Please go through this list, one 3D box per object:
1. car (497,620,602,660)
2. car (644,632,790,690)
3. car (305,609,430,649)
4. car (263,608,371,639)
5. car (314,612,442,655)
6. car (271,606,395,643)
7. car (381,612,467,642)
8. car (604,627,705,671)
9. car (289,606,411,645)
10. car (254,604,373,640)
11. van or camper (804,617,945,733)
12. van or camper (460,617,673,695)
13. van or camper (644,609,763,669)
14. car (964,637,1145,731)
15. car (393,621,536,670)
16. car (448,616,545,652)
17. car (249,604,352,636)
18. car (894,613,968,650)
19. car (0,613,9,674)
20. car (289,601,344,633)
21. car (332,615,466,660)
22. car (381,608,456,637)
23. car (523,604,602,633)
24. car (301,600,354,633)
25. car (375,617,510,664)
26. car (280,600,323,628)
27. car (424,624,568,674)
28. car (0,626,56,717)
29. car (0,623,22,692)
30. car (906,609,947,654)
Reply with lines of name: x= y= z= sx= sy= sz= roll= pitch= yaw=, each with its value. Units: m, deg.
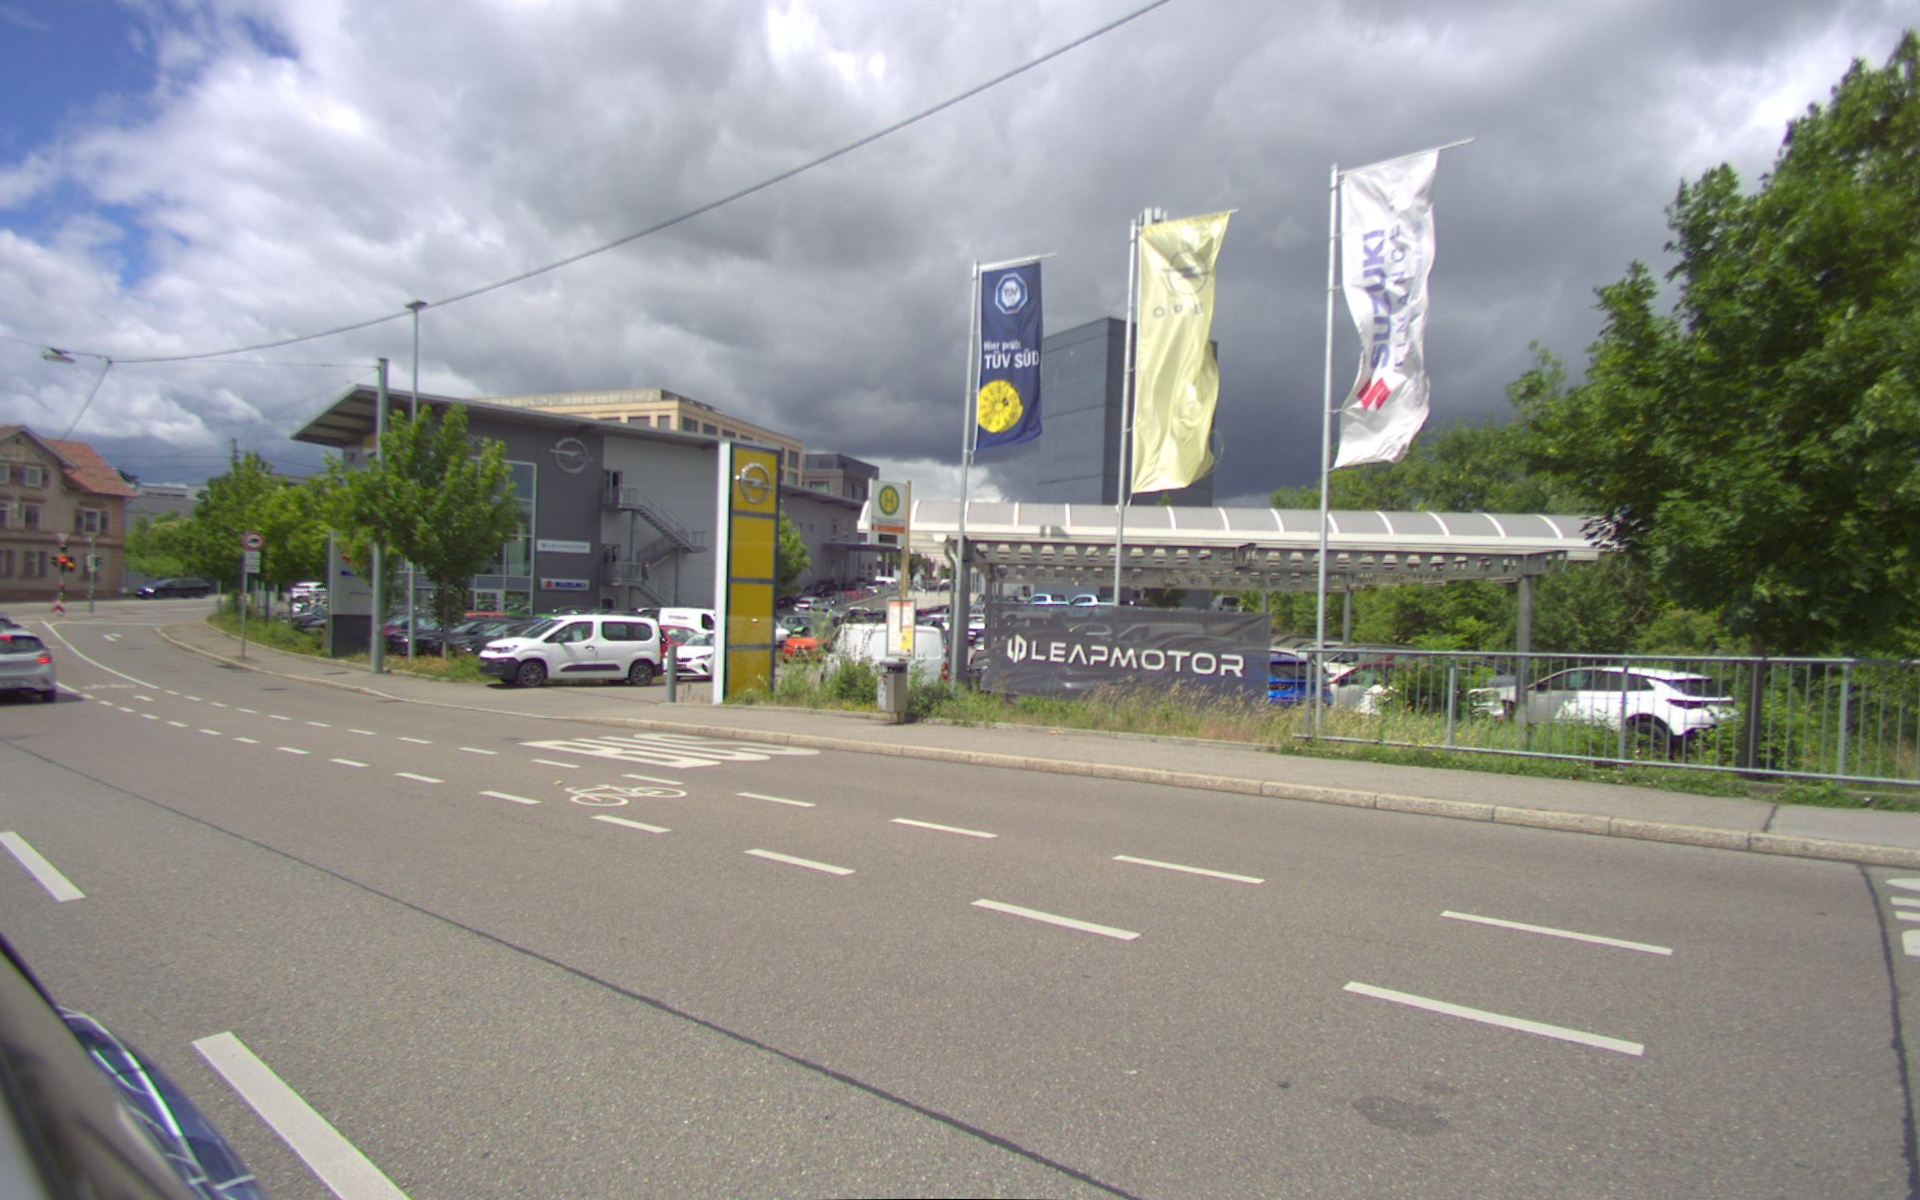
car: x=-15.144 y=1.465 z=37.421 sx=1.517 sy=1.384 sz=3.280 roll=0 pitch=-1 yaw=42
car: x=-7.115 y=1.744 z=30.117 sx=1.999 sy=1.447 sz=4.489 roll=1 pitch=0 yaw=22
car: x=-23.588 y=1.149 z=40.371 sx=1.812 sy=1.509 sz=3.938 roll=0 pitch=-1 yaw=42
car: x=-30.448 y=1.103 z=47.949 sx=4.019 sy=1.405 sz=1.814 roll=2 pitch=-1 yaw=-44
car: x=-21.948 y=1.248 z=38.248 sx=1.812 sy=1.509 sz=3.785 roll=0 pitch=-1 yaw=42
car: x=-27.162 y=1.060 z=43.951 sx=1.812 sy=1.509 sz=4.232 roll=0 pitch=-1 yaw=42
car: x=-25.573 y=1.299 z=48.349 sx=1.517 sy=1.384 sz=3.280 roll=0 pitch=-1 yaw=42
car: x=-9.968 y=1.562 z=32.894 sx=3.473 sy=1.263 sz=1.524 roll=0 pitch=-1 yaw=41
car: x=-25.409 y=1.065 z=42.256 sx=1.812 sy=1.509 sz=4.011 roll=0 pitch=-1 yaw=42
car: x=-28.952 y=0.985 z=45.409 sx=1.812 sy=1.509 sz=4.161 roll=0 pitch=-1 yaw=42
van or camper: x=-1.898 y=1.391 z=20.711 sx=1.956 sy=1.978 sz=4.973 roll=0 pitch=0 yaw=-16
van or camper: x=-9.885 y=1.354 z=25.673 sx=4.613 sy=1.763 sz=2.002 roll=2 pitch=-1 yaw=-44
van or camper: x=-9.549 y=1.390 z=37.504 sx=4.685 sy=2.029 sz=1.972 roll=0 pitch=-1 yaw=42
car: x=1.748 y=1.562 z=20.069 sx=1.786 sy=1.477 sz=4.013 roll=1 pitch=0 yaw=-25
car: x=-16.085 y=1.437 z=32.989 sx=1.771 sy=1.472 sz=3.794 roll=0 pitch=-1 yaw=40
car: x=-18.974 y=1.398 z=41.519 sx=1.517 sy=1.384 sz=3.280 roll=0 pitch=-1 yaw=42
car: x=-32.367 y=0.977 z=49.696 sx=3.940 sy=1.509 sz=1.814 roll=2 pitch=-1 yaw=-44
car: x=-1.675 y=1.780 z=59.171 sx=3.938 sy=1.824 sz=2.003 roll=-3 pitch=4 yaw=-41
car: x=-29.781 y=1.300 z=30.383 sx=1.699 sy=1.593 sz=4.254 roll=-1 pitch=3 yaw=-44
car: x=-37.256 y=0.954 z=58.551 sx=1.919 sy=1.574 sz=4.311 roll=-1 pitch=2 yaw=-43
car: x=-20.078 y=1.327 z=36.302 sx=1.812 sy=1.509 sz=3.808 roll=0 pitch=-1 yaw=41
car: x=-27.240 y=1.147 z=50.922 sx=1.518 sy=1.384 sz=2.977 roll=0 pitch=-1 yaw=43
car: x=-19.437 y=0.927 z=49.534 sx=1.517 sy=1.384 sz=3.280 roll=0 pitch=-1 yaw=42
car: x=-34.347 y=0.874 z=54.941 sx=1.918 sy=1.574 sz=4.003 roll=-1 pitch=2 yaw=-40
car: x=-17.877 y=1.383 z=35.077 sx=1.811 sy=1.509 sz=3.776 roll=0 pitch=-1 yaw=39
car: x=-40.306 y=0.838 z=61.937 sx=1.917 sy=1.485 sz=4.316 roll=-1 pitch=2 yaw=-37
car: x=-14.418 y=1.481 z=31.608 sx=1.792 sy=1.420 sz=3.664 roll=0 pitch=-1 yaw=36
car: x=-20.522 y=1.460 z=21.345 sx=3.999 sy=1.593 sz=1.701 roll=2 pitch=2 yaw=41
car: x=-24.679 y=1.426 z=25.115 sx=3.321 sy=1.495 sz=1.701 roll=2 pitch=2 yaw=41
car: x=-1.717 y=1.561 z=51.397 sx=1.970 sy=1.962 sz=4.004 roll=0 pitch=3 yaw=-3
